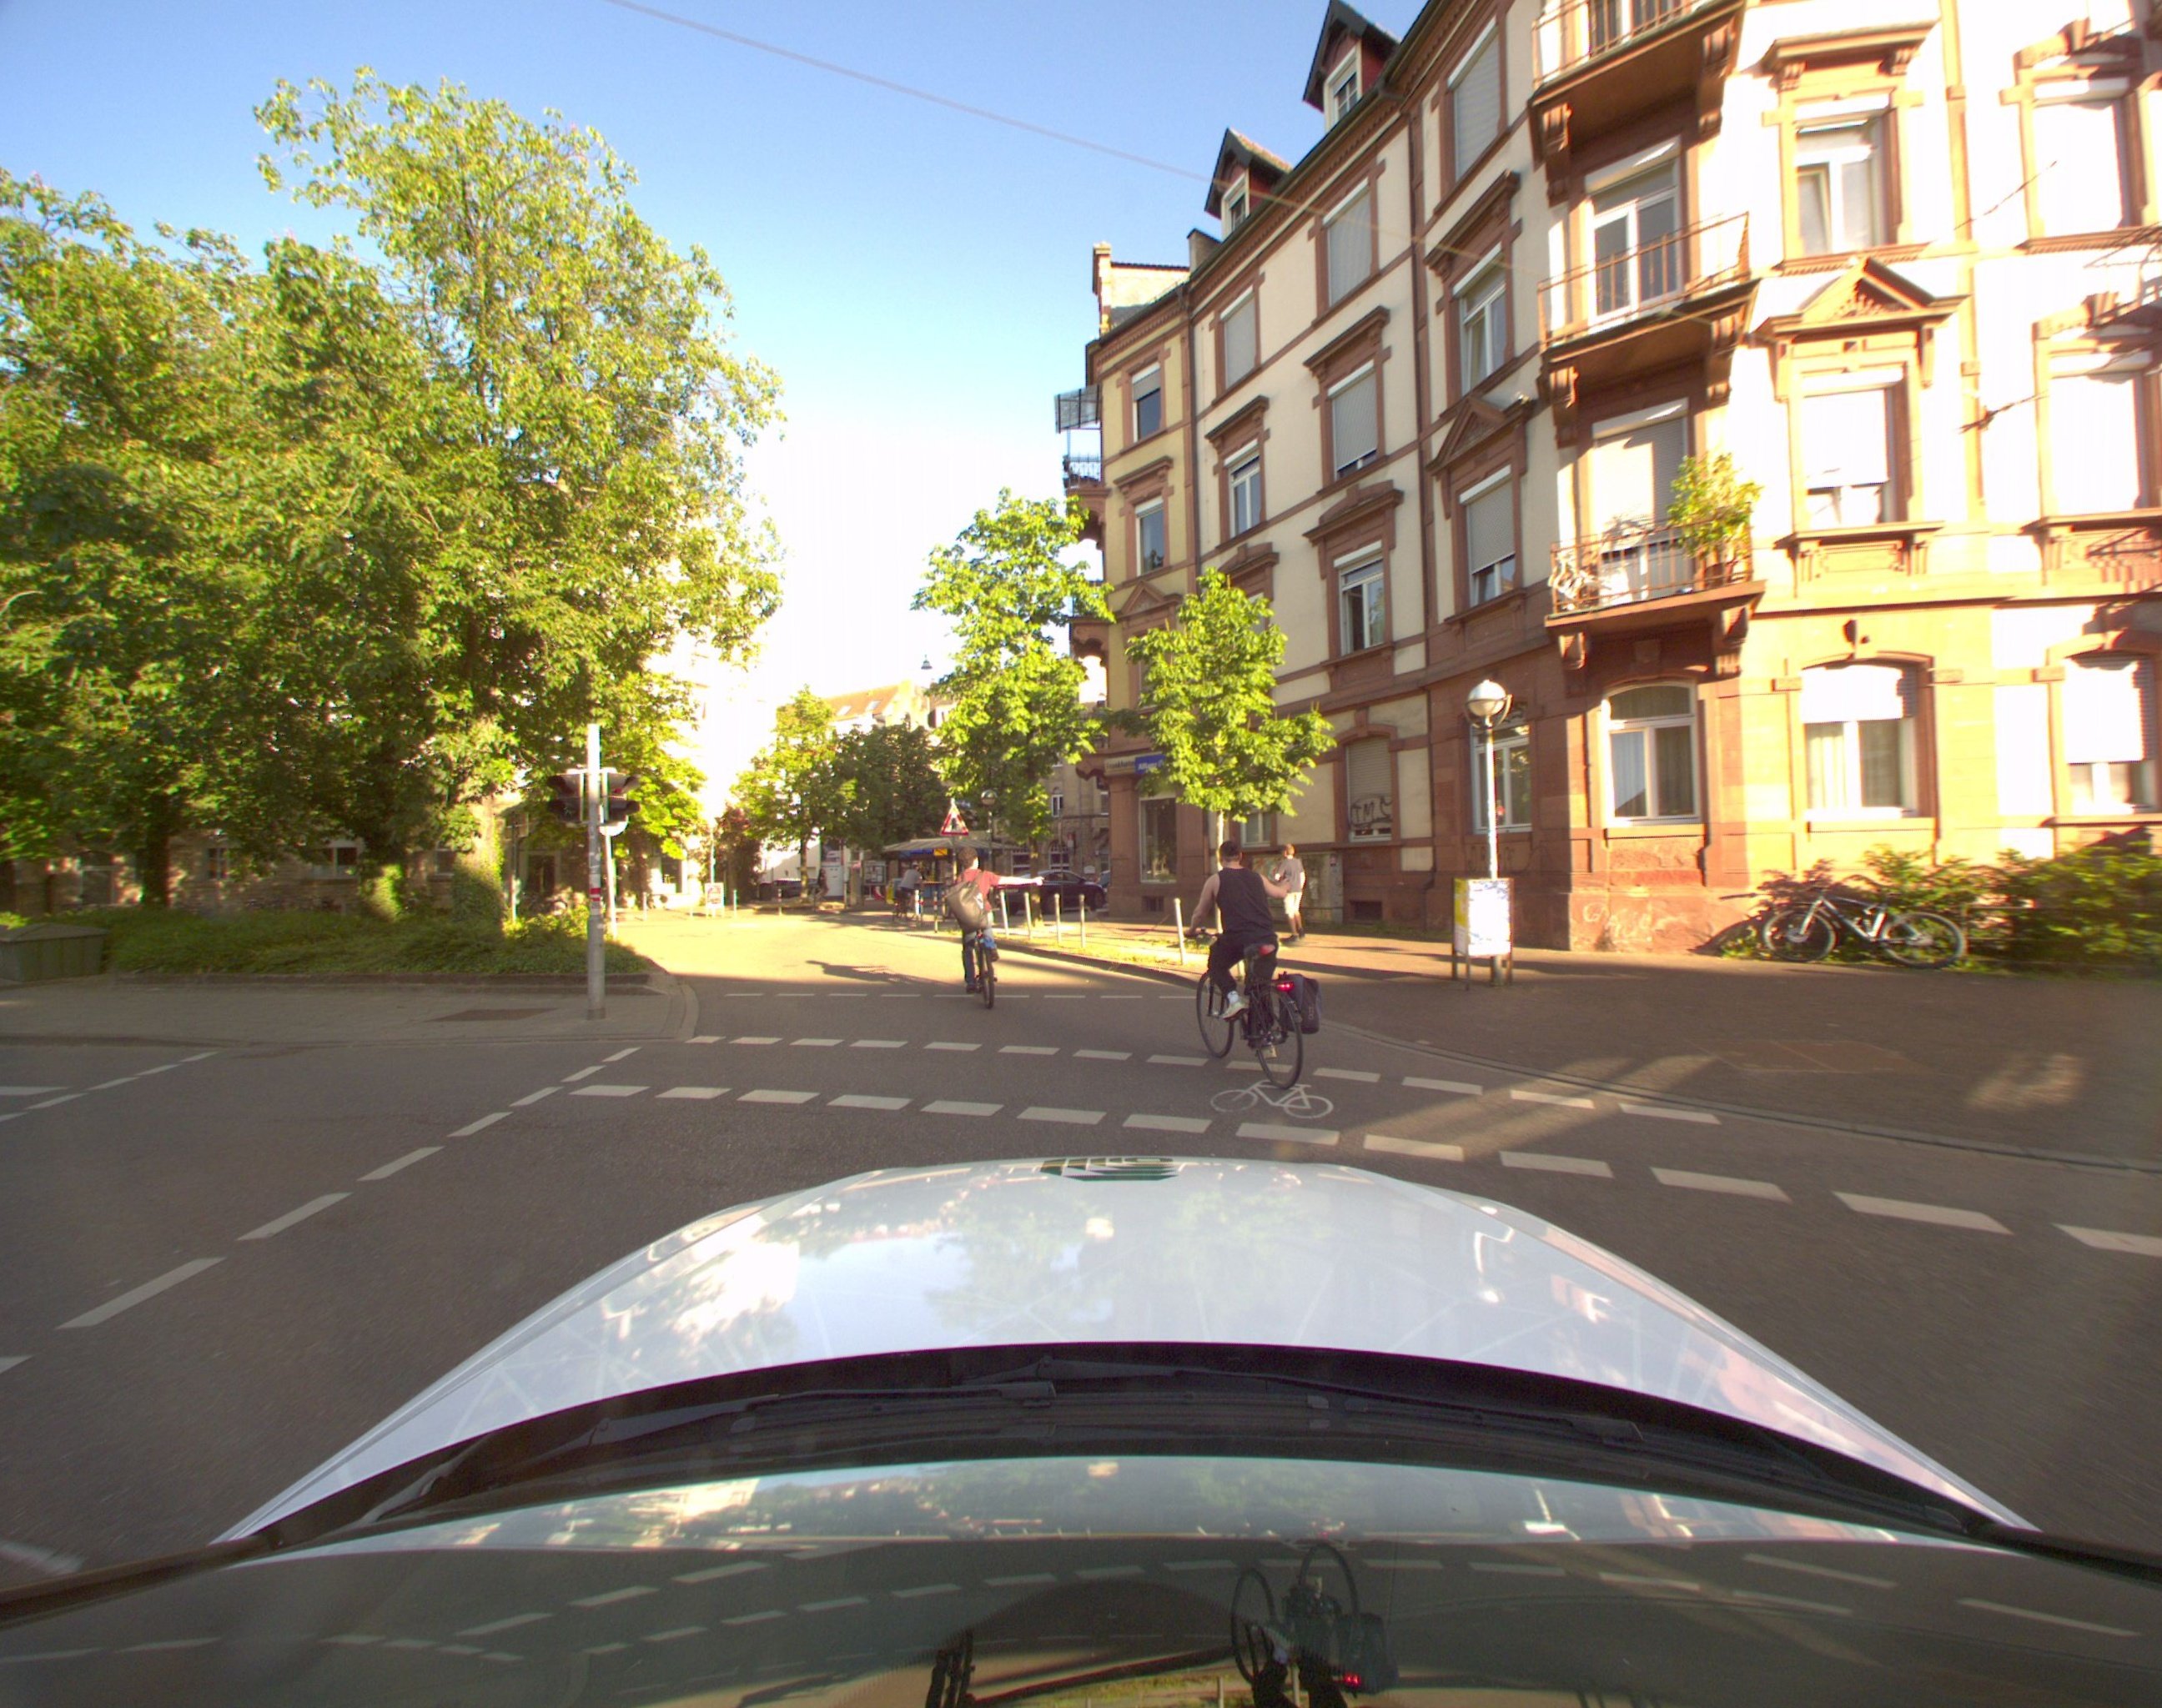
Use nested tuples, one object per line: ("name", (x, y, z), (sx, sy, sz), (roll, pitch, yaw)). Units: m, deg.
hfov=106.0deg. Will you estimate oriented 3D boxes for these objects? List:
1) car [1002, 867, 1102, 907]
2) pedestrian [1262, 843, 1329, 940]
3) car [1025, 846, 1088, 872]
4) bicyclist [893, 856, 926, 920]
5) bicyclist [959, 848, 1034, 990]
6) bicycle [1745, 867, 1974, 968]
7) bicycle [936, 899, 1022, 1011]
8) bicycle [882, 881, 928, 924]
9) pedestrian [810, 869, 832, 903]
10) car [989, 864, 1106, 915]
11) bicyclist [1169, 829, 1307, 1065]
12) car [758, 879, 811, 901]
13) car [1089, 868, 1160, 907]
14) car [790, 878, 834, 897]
("car", (-1.191, 1.342, 34.045), (3.878, 1.542, 1.774), (0, -2, -39))
("pedestrian", (3.798, 0.640, 14.484), (0.726, 1.635, 0.898), (-2, 1, -23))
("car", (-1.702, 0.323, 55.937), (3.948, 1.647, 1.890), (-2, -1, 32))
("bicyclist", (-5.253, 1.036, 24.945), (0.791, 1.913, 0.945), (0, -1, 1))
("bicyclist", (-1.023, 0.740, 9.699), (0.708, 1.573, 0.952), (-1, -2, -16))
("bicycle", (9.267, 0.715, 9.795), (1.942, 1.107, 0.446), (-1, -1, 43))
("bicycle", (-1.259, 1.132, 9.687), (0.718, 1.107, 1.956), (-1, -1, -15))
("bicycle", (-5.375, 1.462, 24.980), (0.807, 1.185, 2.228), (-2, 0, 2))
("pedestrian", (-13.849, 1.697, 43.388), (0.872, 1.750, 0.721), (-2, -2, 30))
("car", (-1.078, 1.185, 28.249), (1.774, 1.611, 4.397), (-3, -2, 33))
("bicyclist", (1.184, 0.679, 6.342), (0.686, 1.656, 0.986), (-2, -3, -10))
("car", (-20.909, 2.539, 57.470), (3.526, 1.499, 1.682), (-2, -3, 32))
("car", (1.783, 1.305, 32.530), (1.486, 1.458, 3.227), (-2, -1, 30))
("car", (-22.165, 2.731, 67.037), (3.526, 1.499, 1.682), (-2, -3, 34))
